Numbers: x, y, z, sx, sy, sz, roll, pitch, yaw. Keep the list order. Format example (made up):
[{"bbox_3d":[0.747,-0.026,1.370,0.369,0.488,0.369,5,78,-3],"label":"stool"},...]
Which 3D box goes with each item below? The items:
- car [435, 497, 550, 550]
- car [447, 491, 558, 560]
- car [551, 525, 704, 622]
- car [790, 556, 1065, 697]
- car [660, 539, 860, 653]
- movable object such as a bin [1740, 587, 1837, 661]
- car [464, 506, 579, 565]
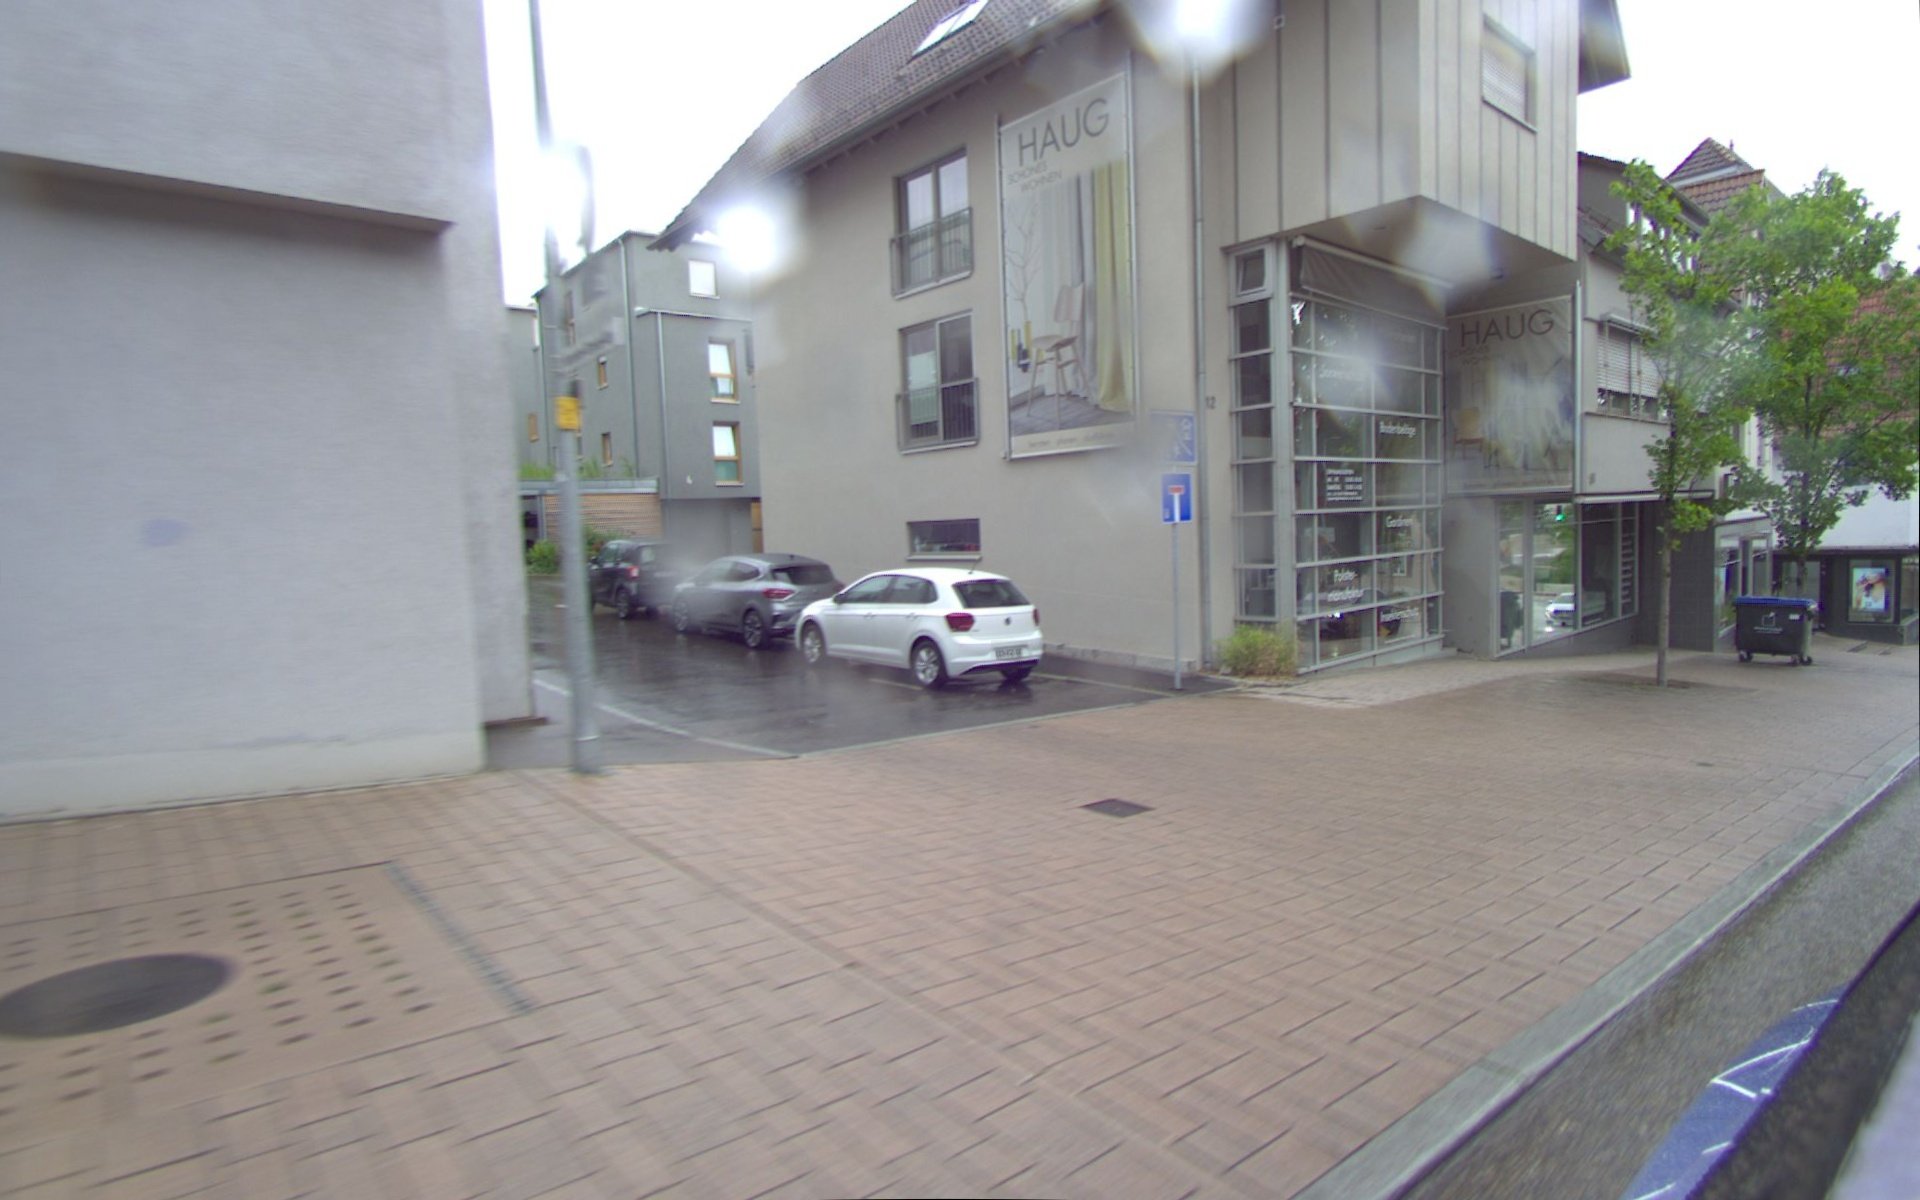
[{"bbox_3d":[-19.419,-3.130,42.101,4.058,2.038,1.828,-1,2,-37],"label":"car"},{"bbox_3d":[-16.770,-2.674,37.156,3.414,2.315,1.520,0,0,-41],"label":"car"},{"bbox_3d":[-7.086,-0.610,21.352,1.675,1.726,3.771,0,5,-41],"label":"car"},{"bbox_3d":[-0.561,0.232,13.815,1.714,1.471,3.771,-1,6,-41],"label":"car"},{"bbox_3d":[-3.541,-0.142,17.439,1.675,1.561,3.771,0,5,-41],"label":"car"},{"bbox_3d":[16.410,0.455,20.050,1.151,1.351,1.238,1,2,-39],"label":"movable object such as a bin"},{"bbox_3d":[-15.278,-2.204,35.323,3.414,1.841,1.520,0,0,-41],"label":"car"}]
